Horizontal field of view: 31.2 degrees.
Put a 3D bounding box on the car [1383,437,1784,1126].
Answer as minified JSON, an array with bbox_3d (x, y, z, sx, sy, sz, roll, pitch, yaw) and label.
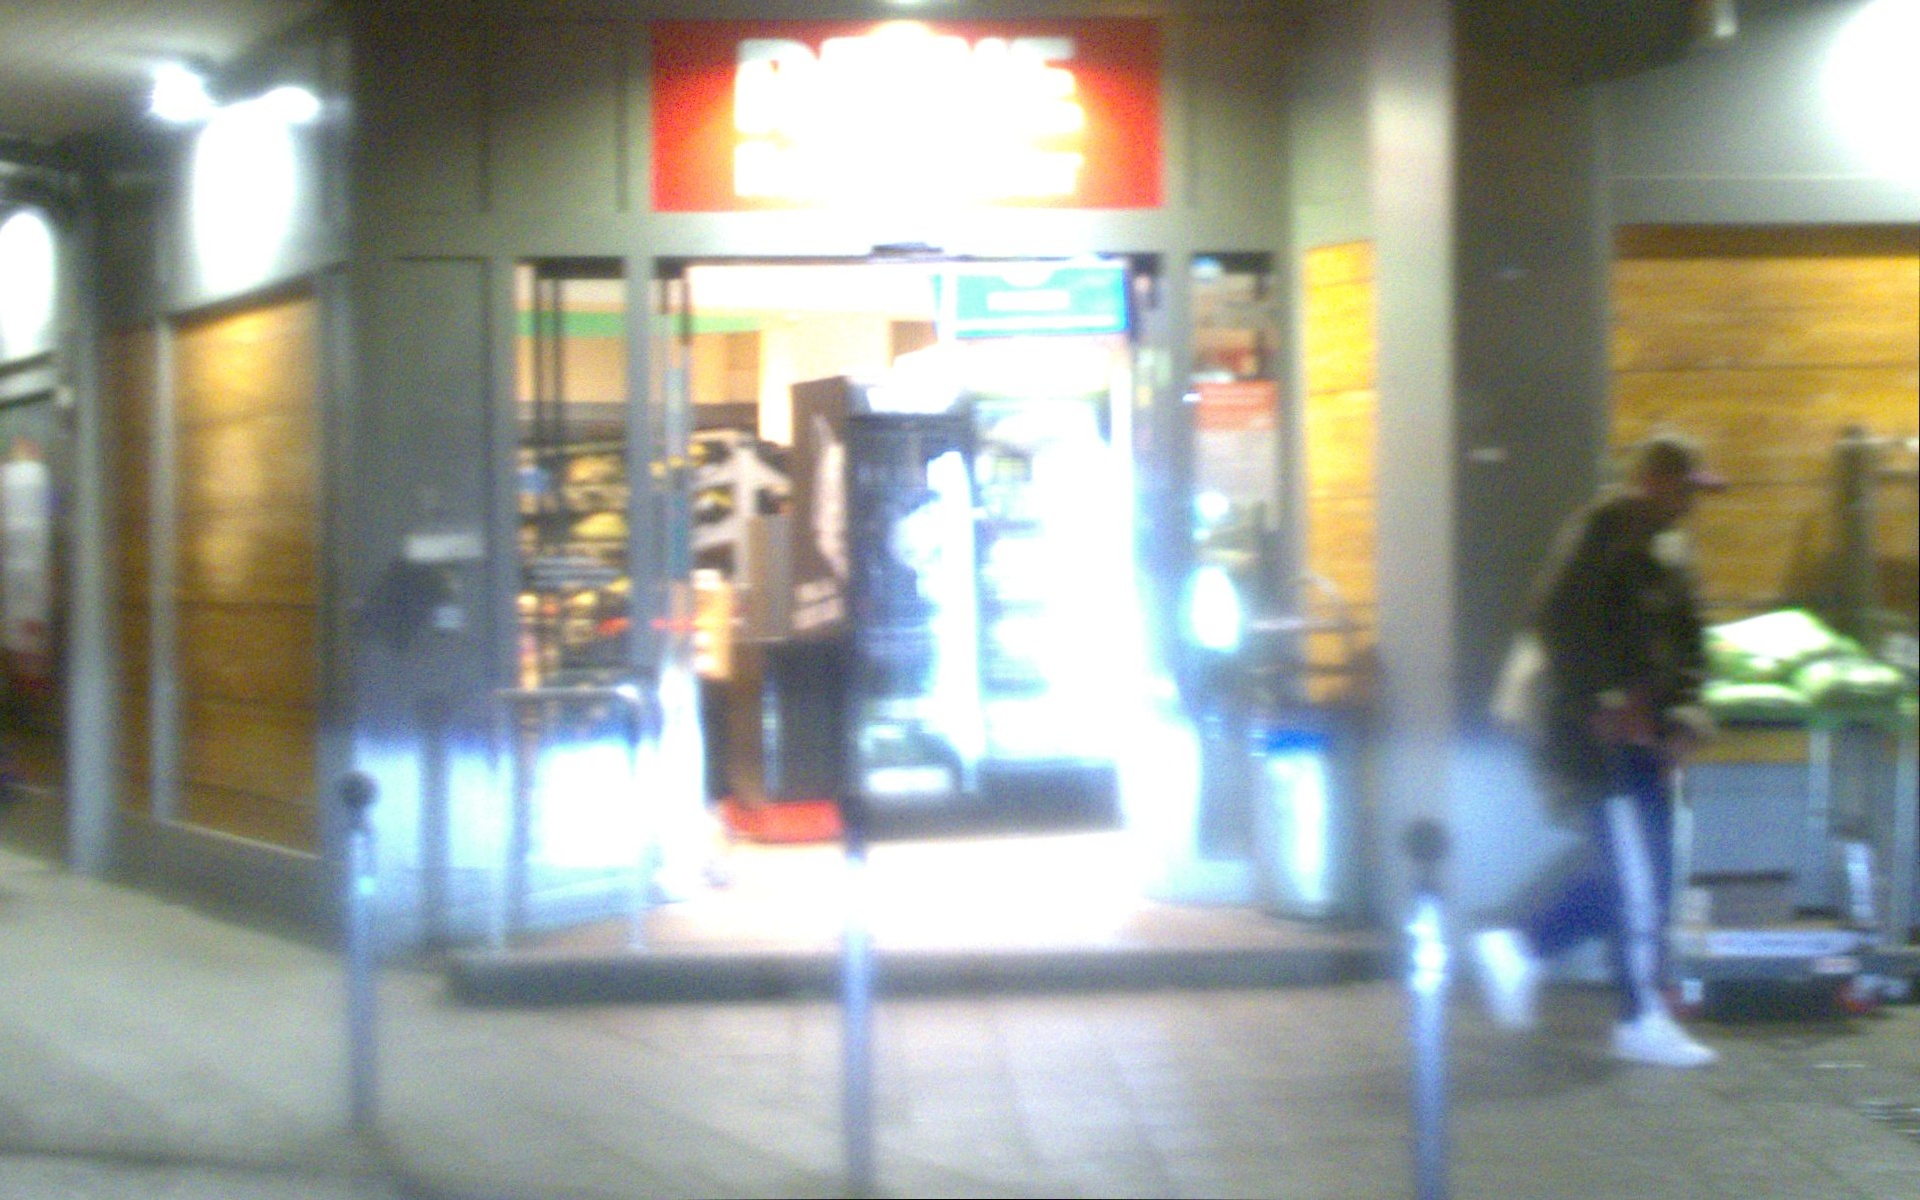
[{"bbox_3d":[1.713,0.475,9.602,0.961,1.835,0.877,0,1,1],"label":"car"}]

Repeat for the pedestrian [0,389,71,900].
[{"bbox_3d":[-4.594,0.203,15.153,1.054,2.201,0.970,-2,1,-27],"label":"pedestrian"}]
